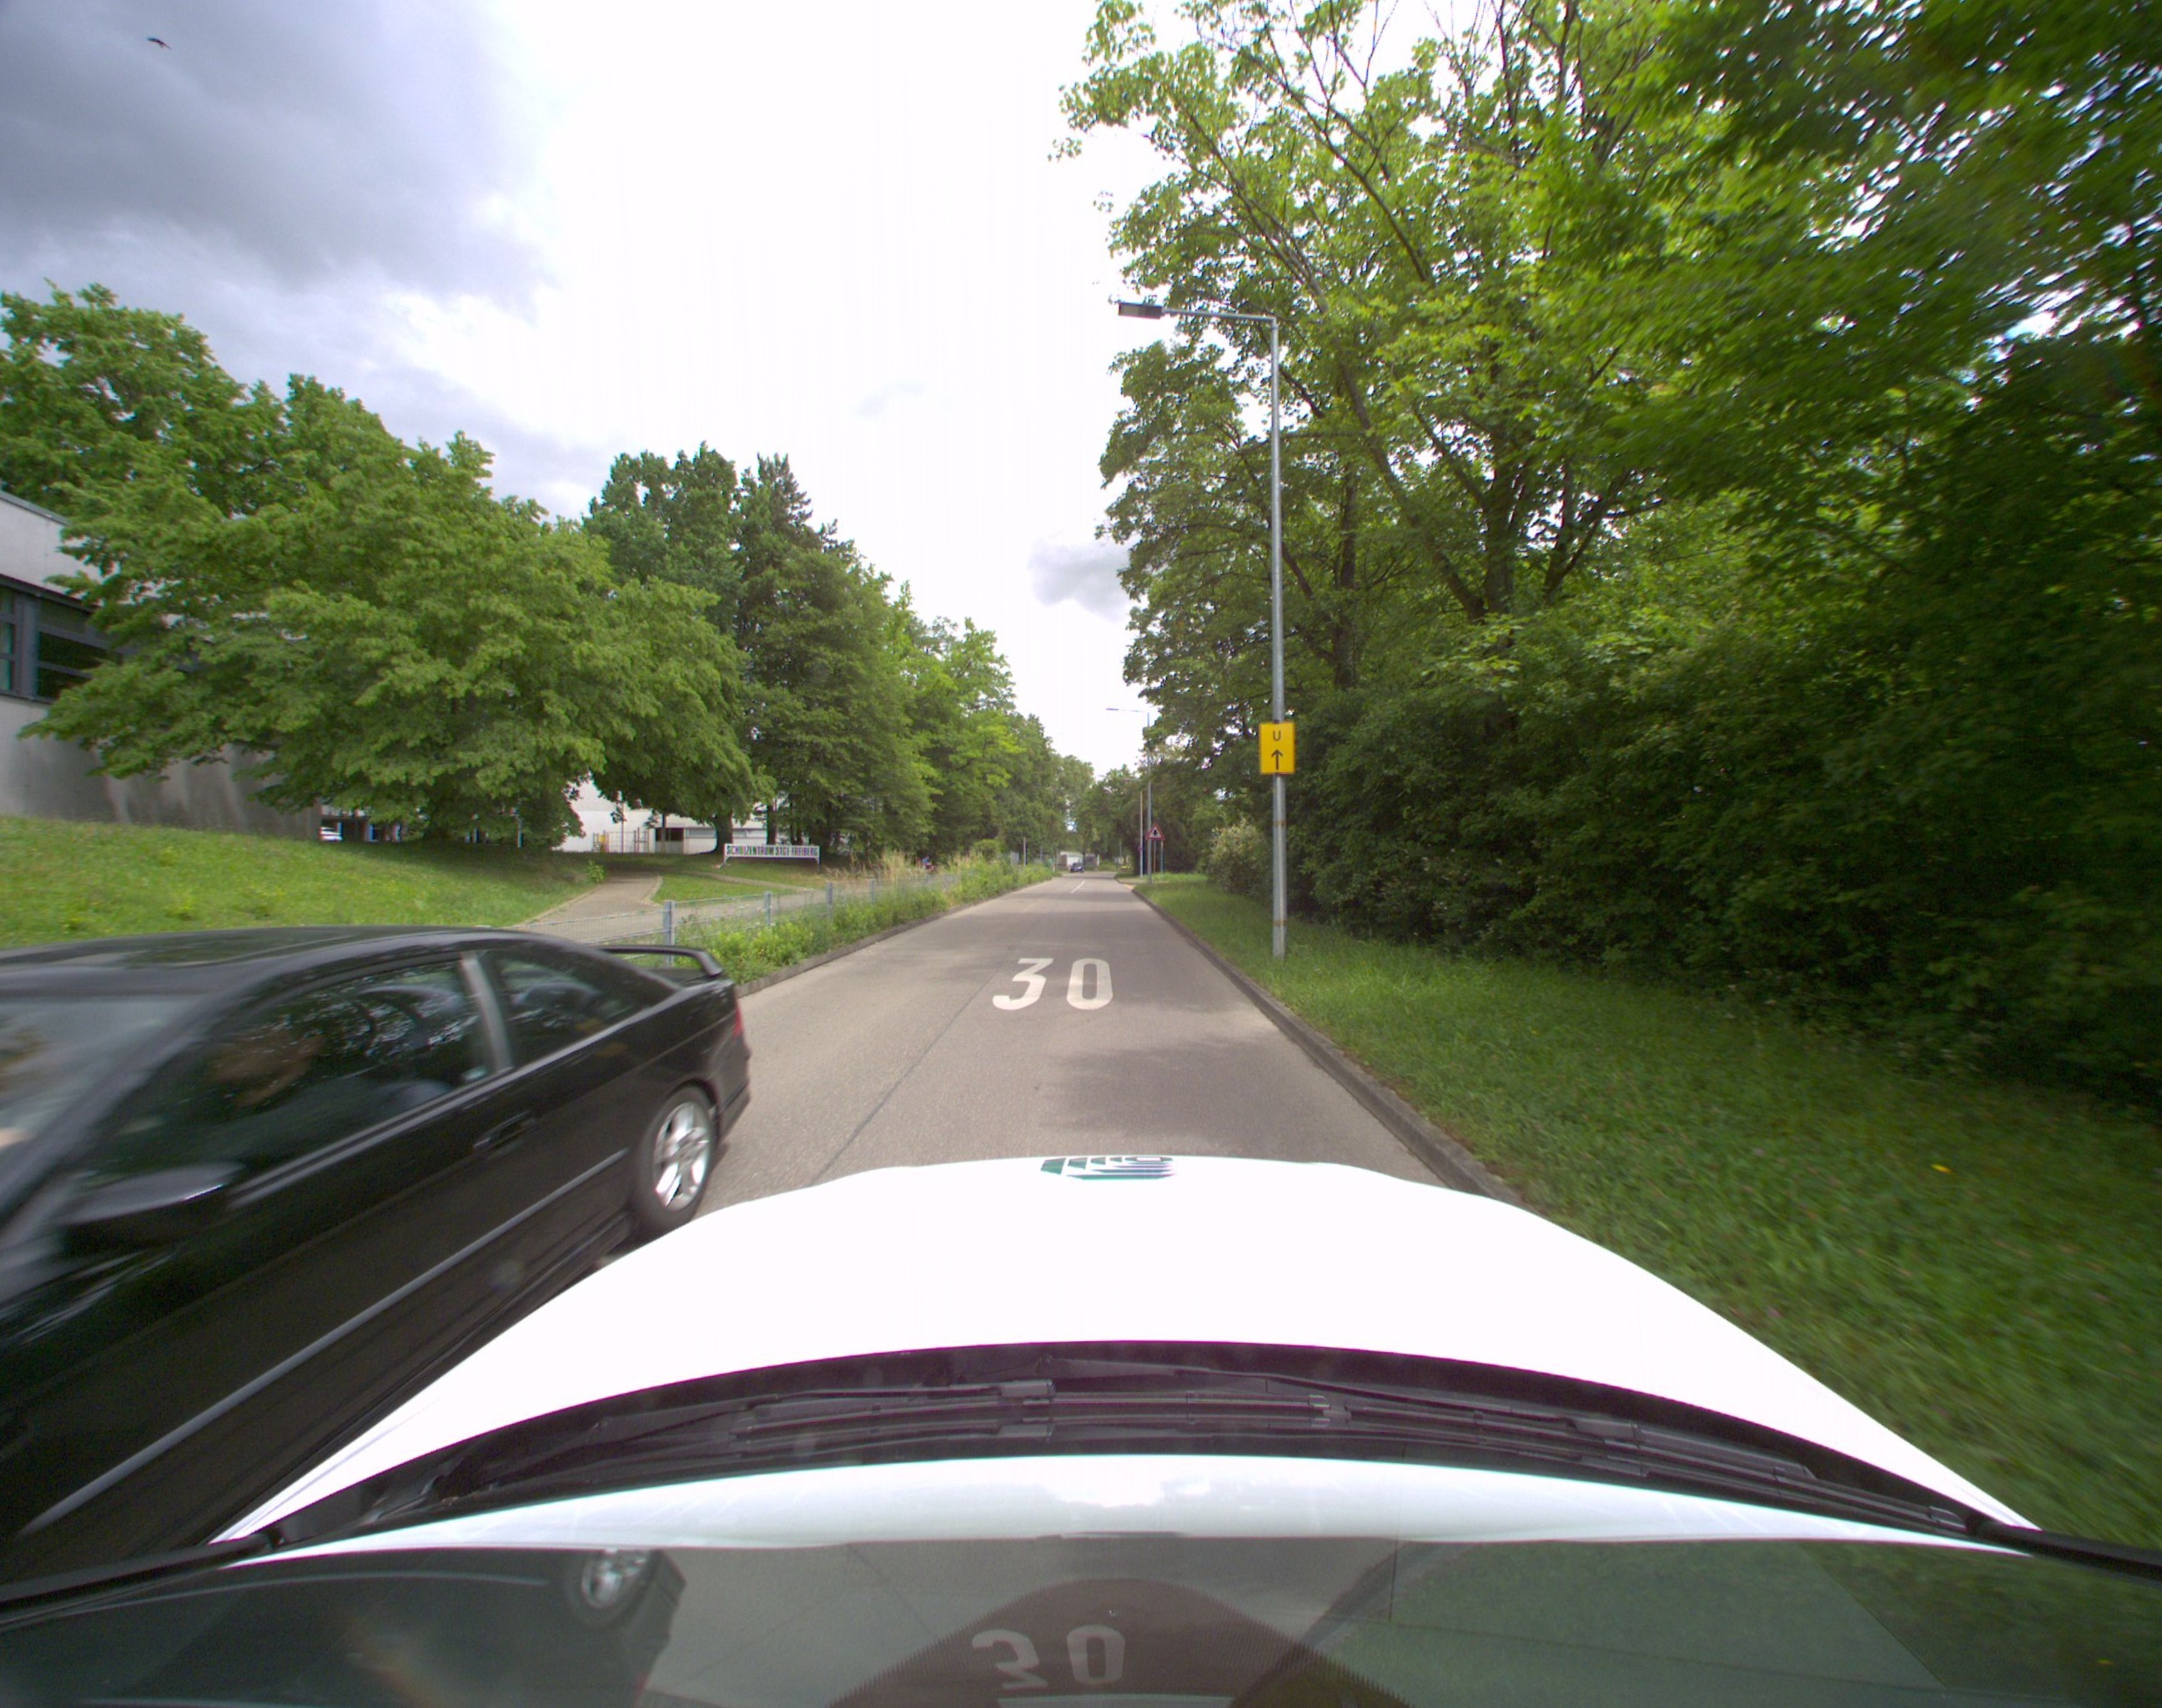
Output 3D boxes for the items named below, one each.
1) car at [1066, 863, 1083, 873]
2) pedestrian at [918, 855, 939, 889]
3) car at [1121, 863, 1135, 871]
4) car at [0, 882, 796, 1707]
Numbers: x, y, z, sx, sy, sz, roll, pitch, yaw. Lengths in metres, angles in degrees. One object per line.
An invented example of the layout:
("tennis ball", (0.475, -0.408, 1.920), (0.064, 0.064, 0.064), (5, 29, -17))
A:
("car", (-0.953, 2.098, 120.512), (1.967, 1.383, 4.010), (0, 0, 9))
("pedestrian", (-9.440, 1.102, 50.340), (0.872, 2.014, 0.867), (1, -5, -43))
("car", (9.078, 2.562, 157.765), (1.846, 1.492, 4.016), (-3, -3, 16))
("car", (-2.462, 0.846, 2.335), (1.686, 1.349, 4.097), (-1, 0, 2))
